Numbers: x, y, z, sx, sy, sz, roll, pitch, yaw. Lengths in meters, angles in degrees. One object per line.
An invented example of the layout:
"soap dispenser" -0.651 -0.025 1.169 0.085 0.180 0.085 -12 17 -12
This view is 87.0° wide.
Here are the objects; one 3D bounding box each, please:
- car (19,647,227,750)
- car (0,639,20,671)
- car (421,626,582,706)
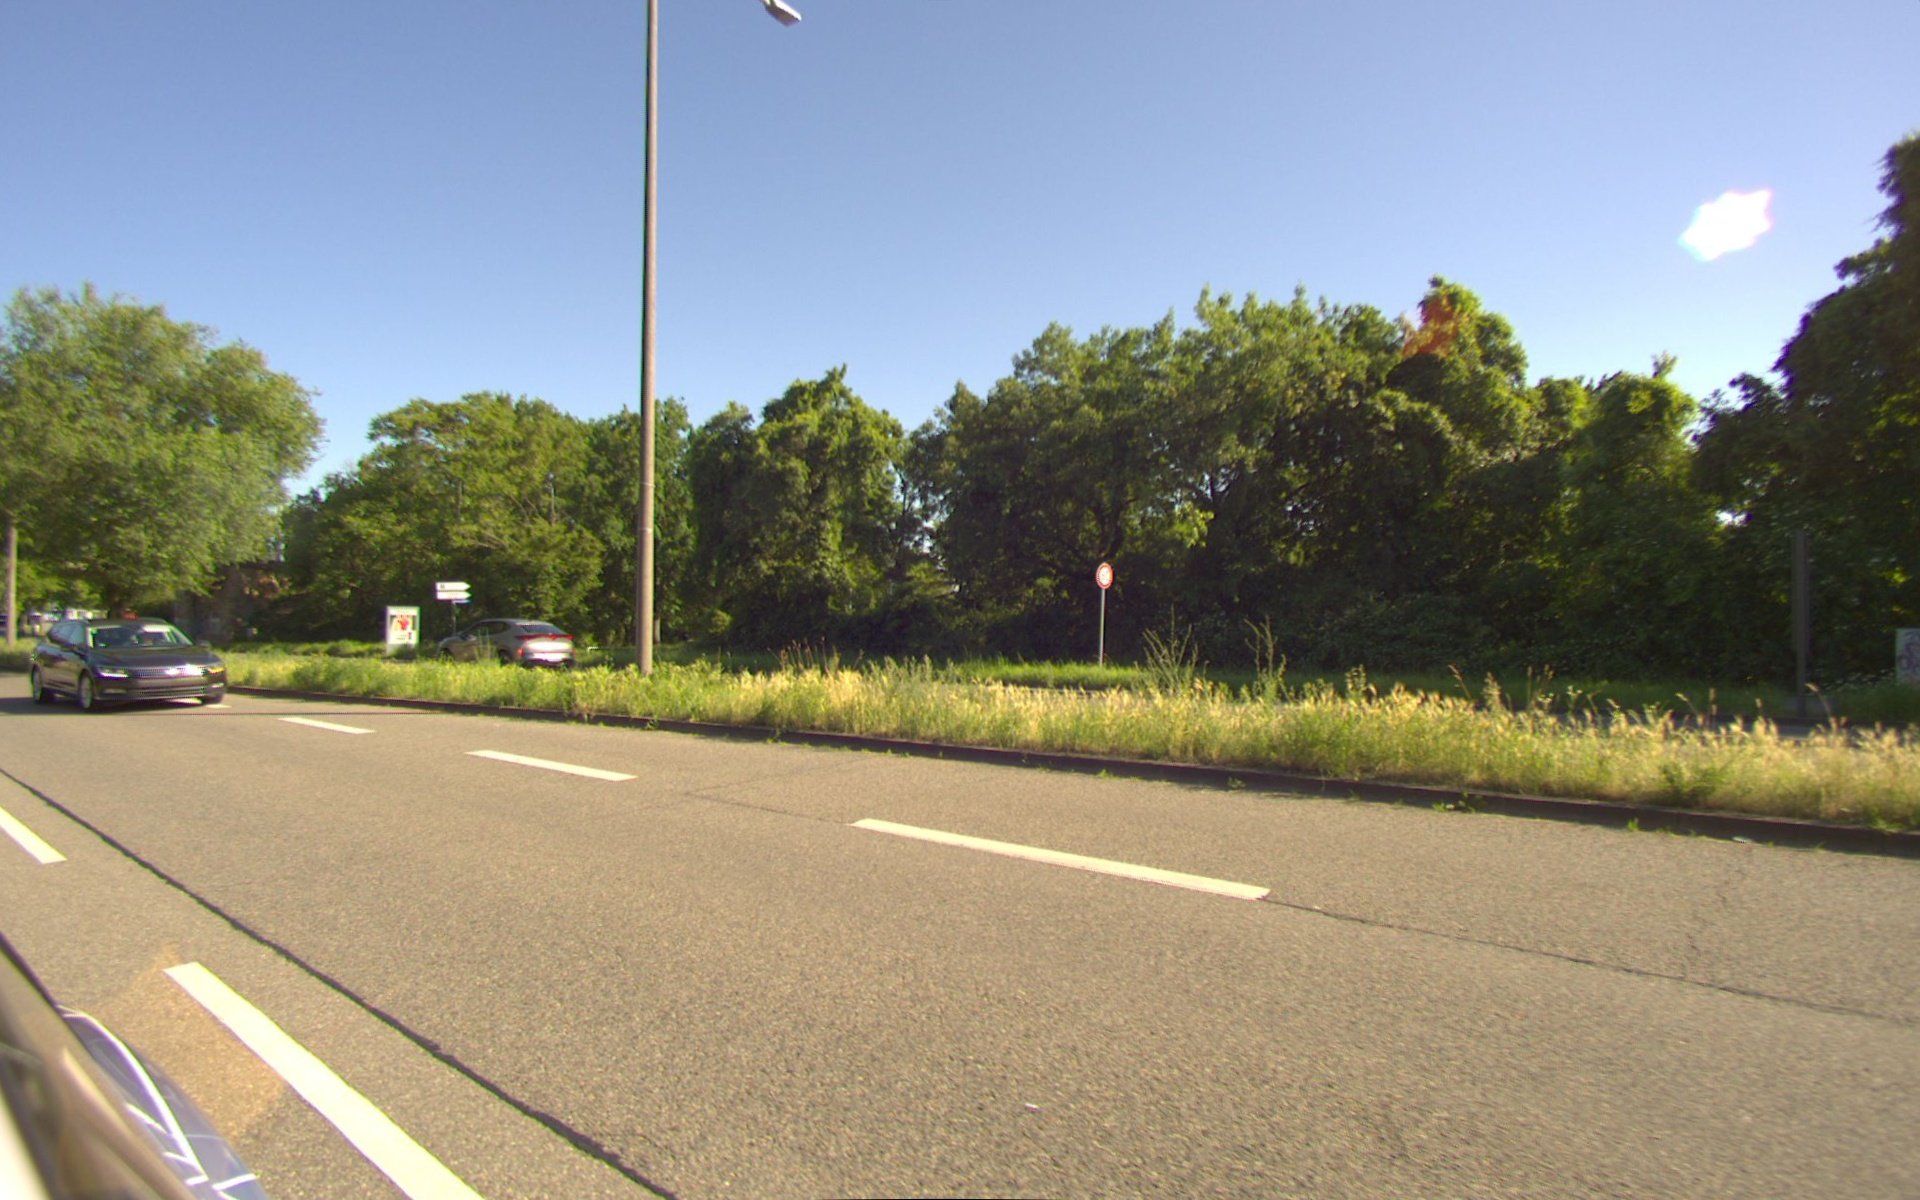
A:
"car" -14.081 1.545 16.946 4.260 1.464 1.826 -2 -3 38
"car" -61.046 3.402 63.613 5.237 1.944 1.974 -1 -3 38
"car" -12.651 1.740 27.865 4.571 2.029 1.977 -1 -2 34
